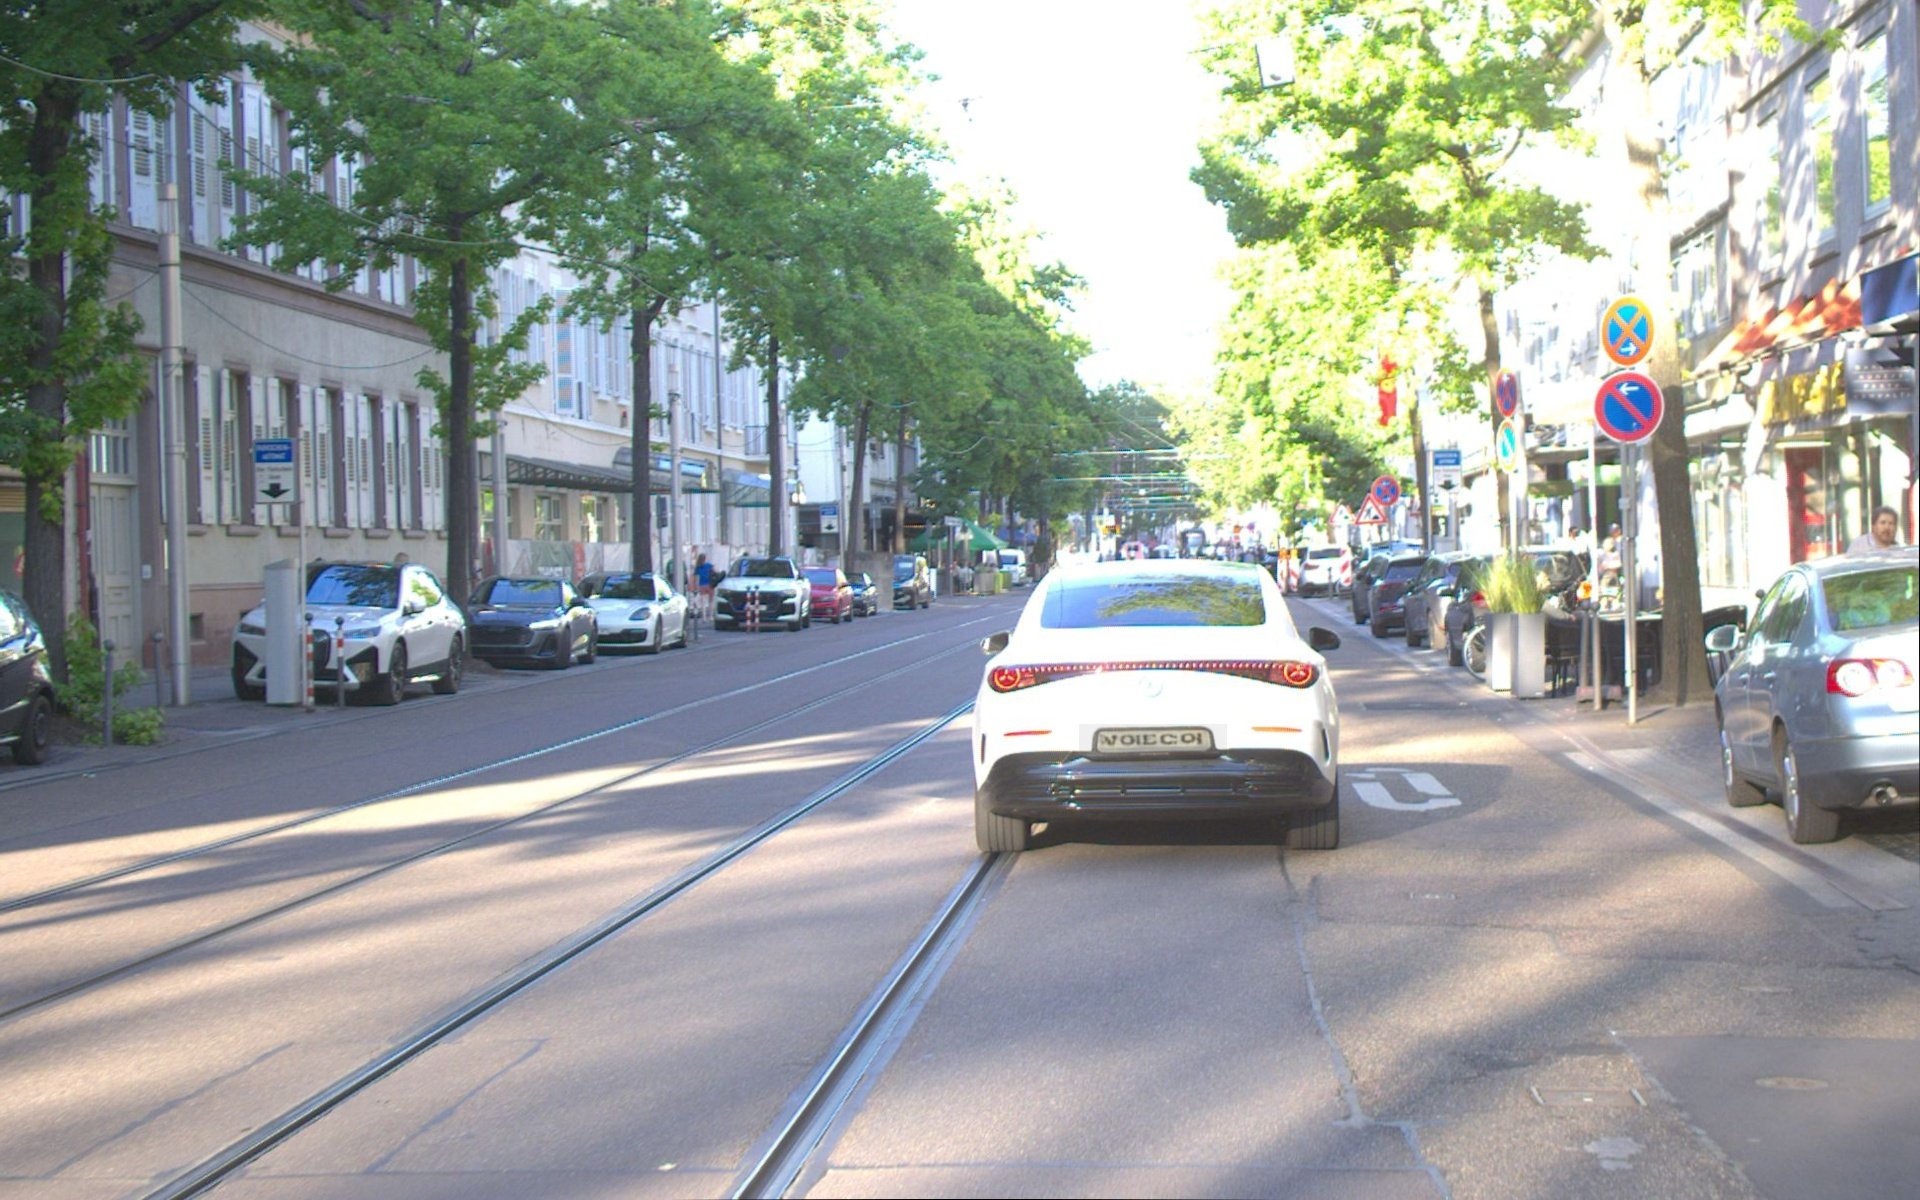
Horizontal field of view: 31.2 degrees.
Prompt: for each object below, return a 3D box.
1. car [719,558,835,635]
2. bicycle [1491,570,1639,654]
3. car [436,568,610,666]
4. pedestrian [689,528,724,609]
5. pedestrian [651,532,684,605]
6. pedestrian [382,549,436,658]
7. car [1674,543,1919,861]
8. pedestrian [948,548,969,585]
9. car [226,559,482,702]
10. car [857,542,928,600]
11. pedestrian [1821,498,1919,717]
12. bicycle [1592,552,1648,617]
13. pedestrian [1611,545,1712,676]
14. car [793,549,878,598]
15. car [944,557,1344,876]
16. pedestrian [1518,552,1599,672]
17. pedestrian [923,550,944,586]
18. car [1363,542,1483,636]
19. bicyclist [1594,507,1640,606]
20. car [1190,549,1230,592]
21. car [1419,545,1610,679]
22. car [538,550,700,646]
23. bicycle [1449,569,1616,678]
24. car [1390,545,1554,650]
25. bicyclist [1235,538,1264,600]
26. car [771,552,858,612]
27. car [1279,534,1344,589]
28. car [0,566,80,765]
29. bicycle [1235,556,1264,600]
[{"bbox_3d":[-4.241,-0.113,80.416,1.962,1.686,5.012,-2,1,5],"label":"car"},{"bbox_3d":[8.396,0.159,47.725,1.855,1.070,0.712,-3,1,-5],"label":"bicycle"},{"bbox_3d":[-6.826,0.230,54.141,1.962,1.408,4.846,-2,1,2],"label":"car"},{"bbox_3d":[-6.309,-0.789,85.649,0.707,1.997,0.675,-2,1,3],"label":"pedestrian"},{"bbox_3d":[-7.307,-0.796,85.820,0.707,1.800,0.675,-2,1,0],"label":"pedestrian"},{"bbox_3d":[-8.803,0.048,54.951,0.686,1.715,0.656,-1,1,5],"label":"pedestrian"},{"bbox_3d":[5.105,0.442,18.650,1.776,1.435,4.422,-5,0,5],"label":"car"},{"bbox_3d":[-0.069,-1.402,142.430,0.517,1.473,0.650,-5,0,-23],"label":"pedestrian"},{"bbox_3d":[-7.469,0.332,42.832,1.962,1.634,4.811,1,1,5],"label":"car"},{"bbox_3d":[-2.176,-0.951,111.943,1.553,1.789,3.165,-2,1,13],"label":"car"},{"bbox_3d":[7.143,0.046,26.465,0.803,1.637,0.756,-3,1,5],"label":"pedestrian"},{"bbox_3d":[11.468,-0.282,59.776,0.647,1.070,1.861,-3,1,3],"label":"bicycle"},{"bbox_3d":[7.606,0.111,37.277,0.707,1.382,0.747,-3,1,-33],"label":"pedestrian"},{"bbox_3d":[-3.545,-0.769,98.412,1.994,1.287,4.000,-2,1,4],"label":"car"},{"bbox_3d":[1.062,0.528,18.205,1.868,1.464,4.042,-1,1,6],"label":"car"},{"bbox_3d":[6.487,0.124,37.250,0.817,1.261,0.586,-2,1,10],"label":"pedestrian"},{"bbox_3d":[-1.094,-1.326,141.626,0.569,1.459,0.649,-2,1,24],"label":"pedestrian"},{"bbox_3d":[8.072,-0.221,60.206,1.871,1.448,4.105,-4,1,6],"label":"car"},{"bbox_3d":[11.444,-0.758,59.876,0.639,1.678,0.600,-3,1,3],"label":"bicyclist"},{"bbox_3d":[15.183,-1.772,209.078,1.993,2.533,4.000,-2,0,-1],"label":"car"},{"bbox_3d":[6.933,0.126,43.296,1.800,1.453,3.654,5,1,2],"label":"car"},{"bbox_3d":[-6.101,-0.068,62.058,1.947,1.634,4.908,-1,1,6],"label":"car"},{"bbox_3d":[6.531,0.267,39.228,1.728,1.135,0.546,-4,0,25],"label":"bicycle"},{"bbox_3d":[7.752,-0.058,52.348,1.814,1.481,4.000,-2,1,-1],"label":"car"},{"bbox_3d":[8.017,-0.861,95.182,0.725,1.697,0.811,-2,0,5],"label":"bicyclist"},{"bbox_3d":[-3.787,-0.493,90.089,1.689,1.494,4.233,-2,1,5],"label":"car"},{"bbox_3d":[11.707,-1.304,114.673,1.994,1.722,4.240,-2,1,5],"label":"car"},{"bbox_3d":[-8.917,0.568,28.309,1.962,1.634,3.999,-2,1,5],"label":"car"},{"bbox_3d":[8.013,-0.619,95.001,0.740,1.184,2.160,-2,0,5],"label":"bicycle"}]
